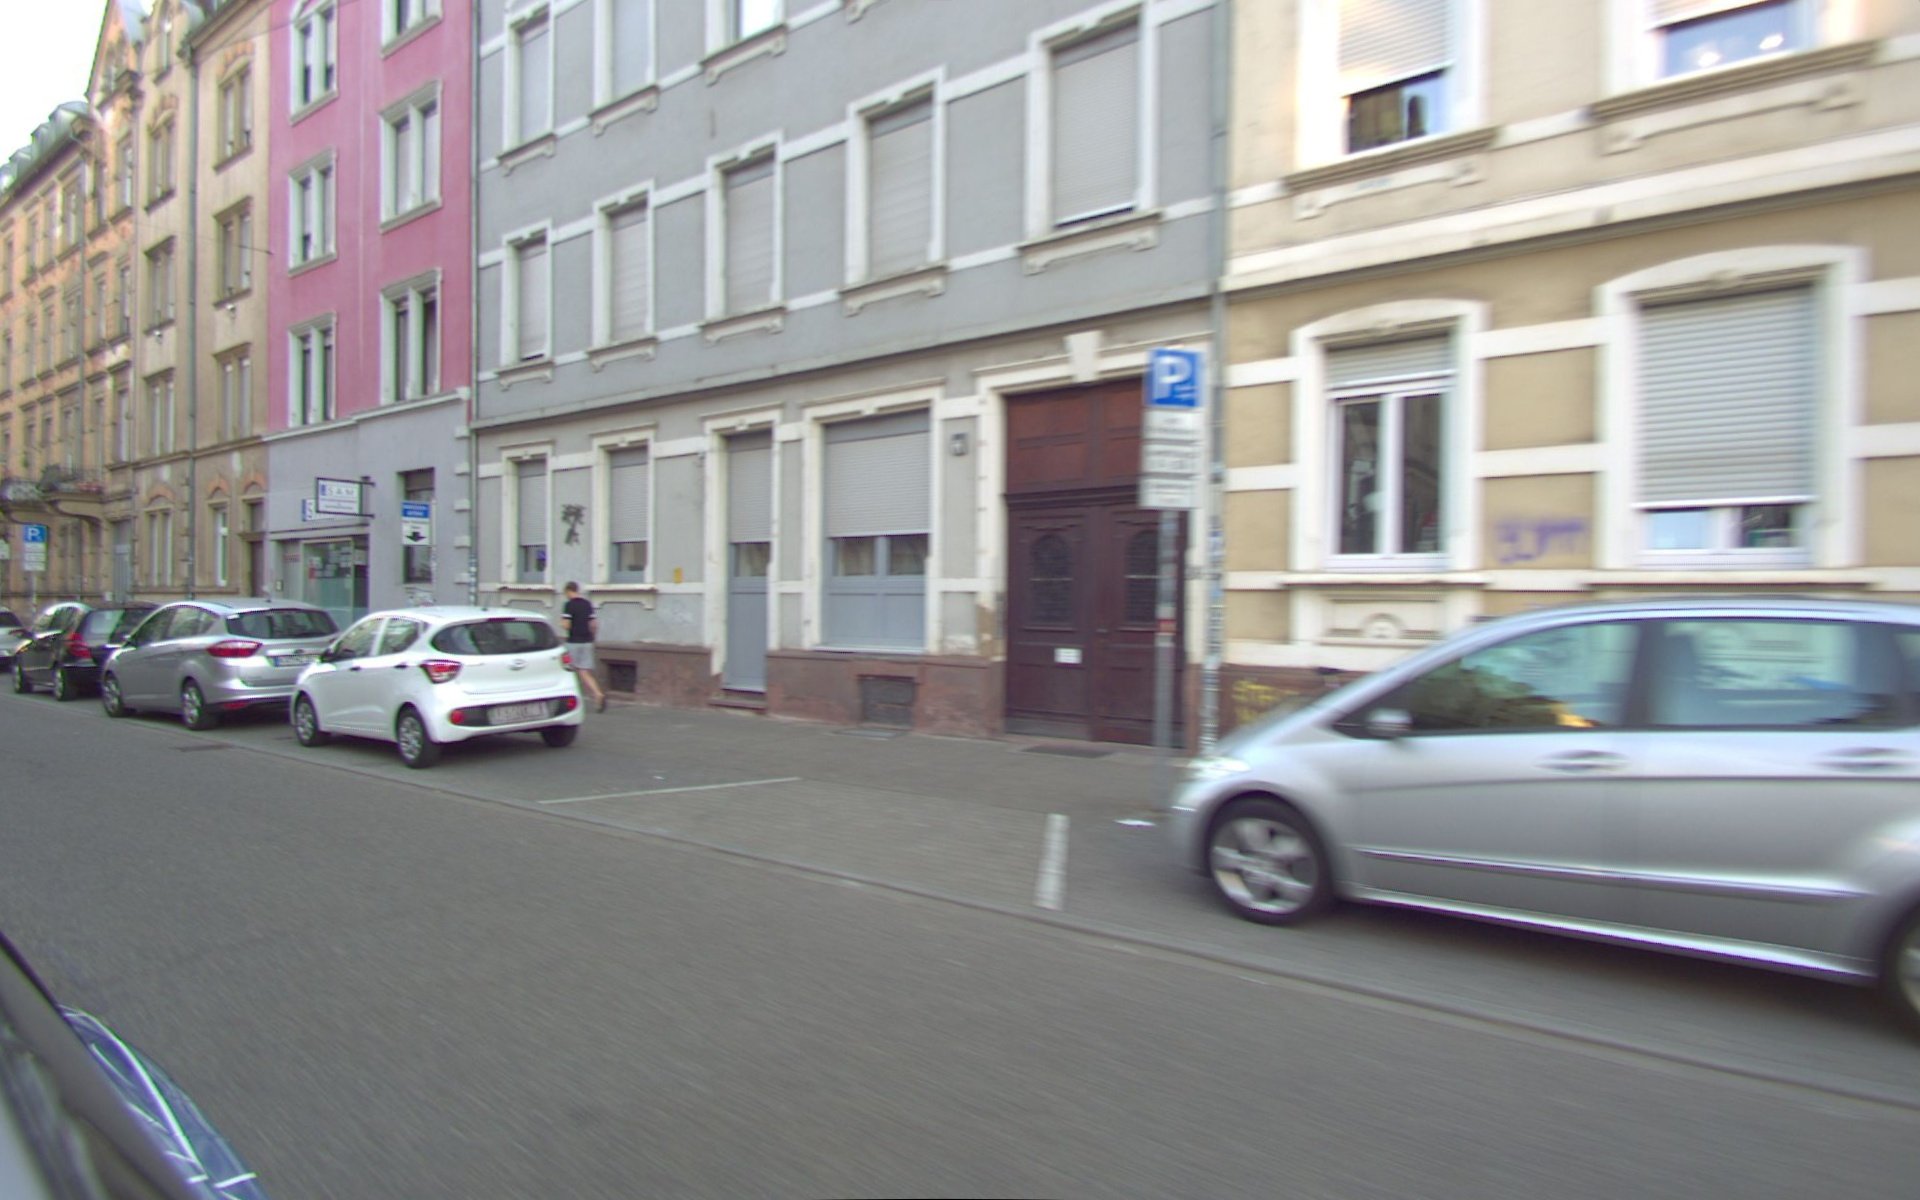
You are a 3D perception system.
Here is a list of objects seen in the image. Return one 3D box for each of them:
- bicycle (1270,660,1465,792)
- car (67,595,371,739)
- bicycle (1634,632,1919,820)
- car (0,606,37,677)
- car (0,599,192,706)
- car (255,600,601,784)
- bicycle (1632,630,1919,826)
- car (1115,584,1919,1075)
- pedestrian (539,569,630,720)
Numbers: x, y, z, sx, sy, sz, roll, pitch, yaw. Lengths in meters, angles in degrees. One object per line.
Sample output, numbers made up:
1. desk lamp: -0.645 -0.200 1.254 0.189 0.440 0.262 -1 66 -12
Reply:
1. bicycle: 3.387 1.015 8.457 1.461 0.984 0.397 0 -4 34
2. car: -10.095 0.781 13.680 4.660 1.604 1.818 0 1 34
3. bicycle: 5.668 0.799 6.801 1.860 1.149 0.475 -1 -1 37
4. car: -22.648 0.958 22.955 4.050 1.485 1.738 0 4 37
5. car: -15.025 0.820 17.455 4.049 1.604 1.738 0 1 36
6. car: -5.782 0.826 10.856 3.920 1.588 1.737 0 1 37
7. bicycle: 5.470 0.782 6.528 1.860 1.149 0.475 -1 -1 37
8. car: 2.974 0.756 4.634 4.139 1.604 1.783 0 1 38
9. pedestrian: -5.096 0.590 13.751 0.833 1.964 0.841 0 -1 40
